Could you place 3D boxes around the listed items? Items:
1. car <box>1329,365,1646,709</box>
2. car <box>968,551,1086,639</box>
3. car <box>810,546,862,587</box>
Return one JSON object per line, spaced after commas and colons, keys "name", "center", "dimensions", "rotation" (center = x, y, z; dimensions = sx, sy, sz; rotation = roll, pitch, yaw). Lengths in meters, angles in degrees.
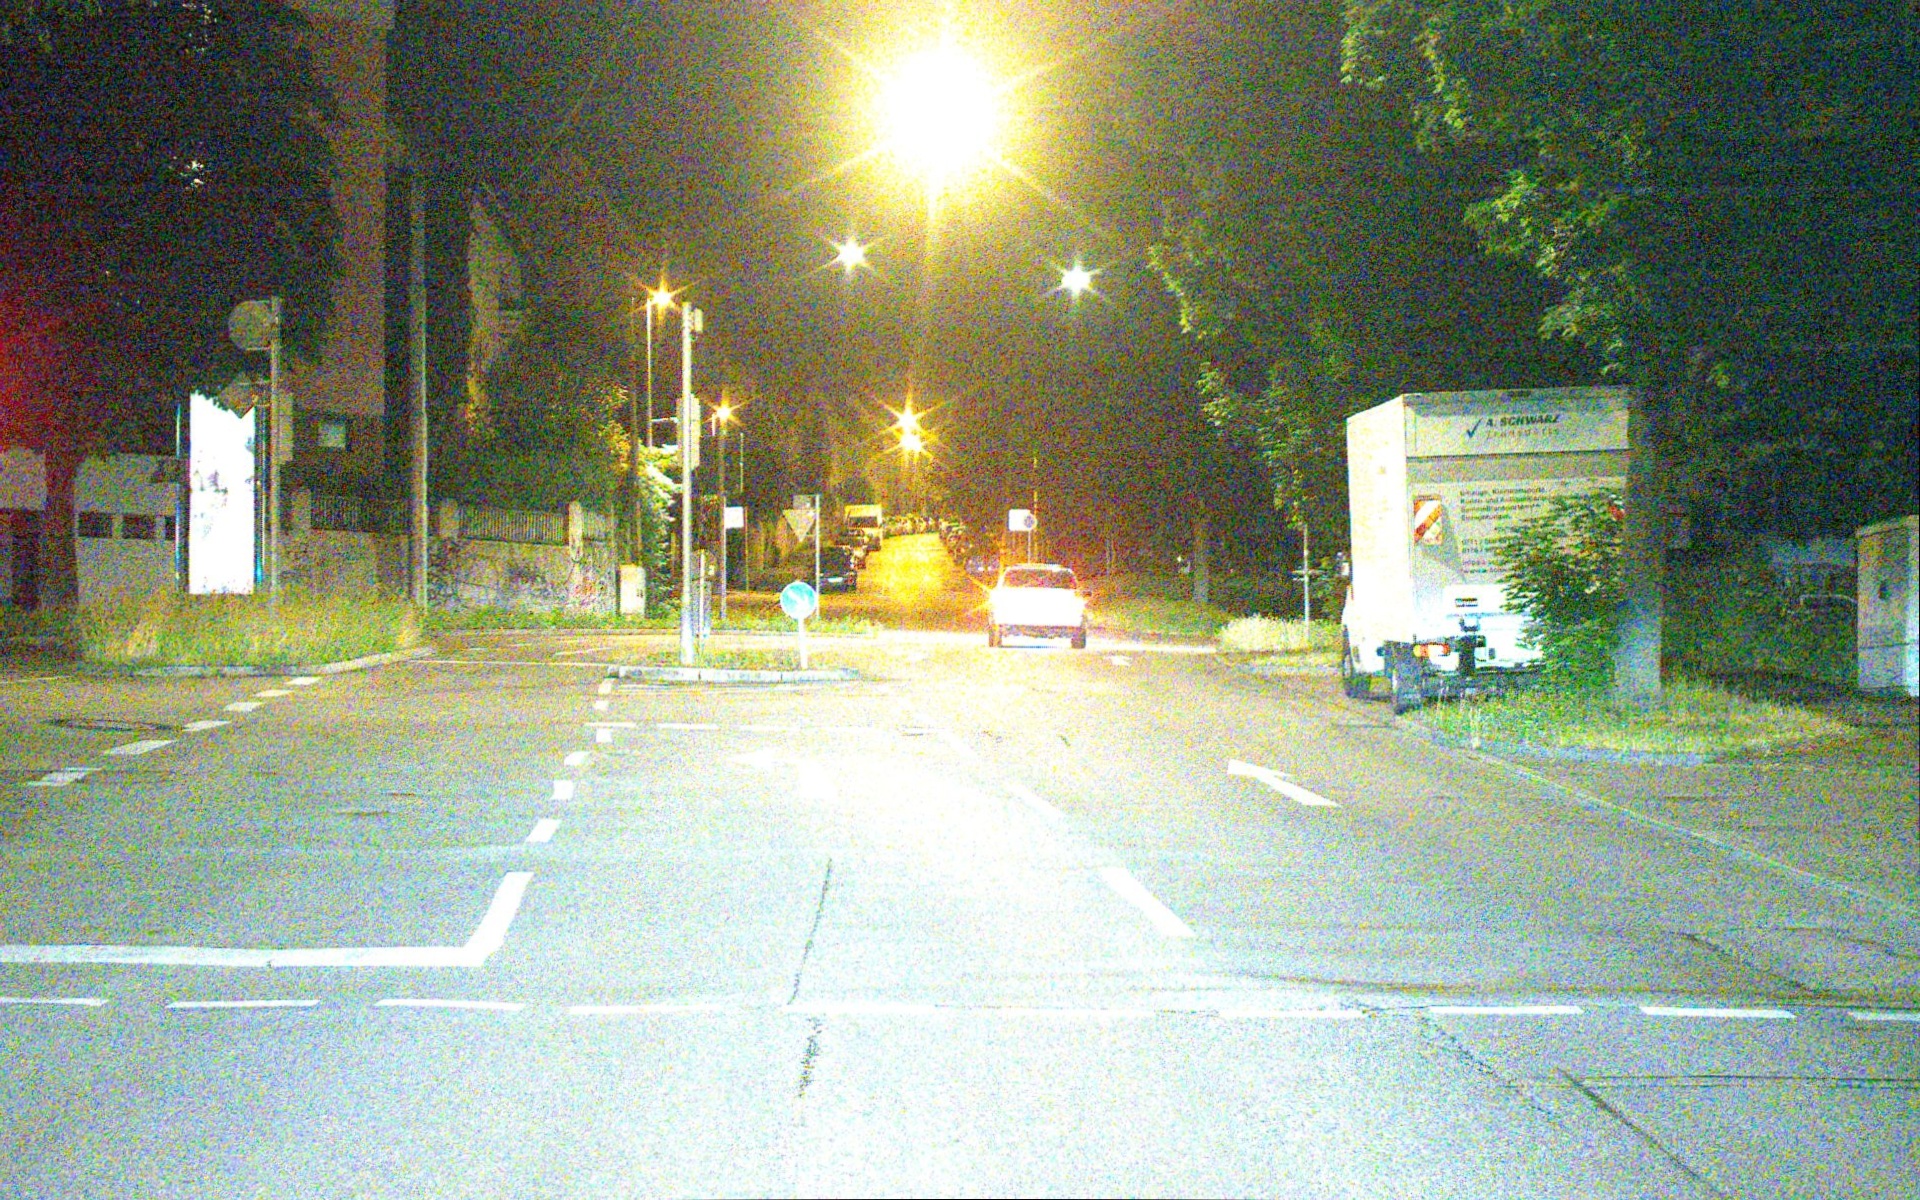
{"name": "car", "center": [5.114, -0.605, 34.217], "dimensions": [2.297, 3.082, 5.840], "rotation": [-1, 1, 1]}
{"name": "car", "center": [1.145, -0.106, 60.485], "dimensions": [1.776, 1.481, 4.000], "rotation": [1, 1, -3]}
{"name": "car", "center": [-4.848, -1.294, 134.387], "dimensions": [1.908, 1.552, 3.904], "rotation": [1, 1, -1]}
